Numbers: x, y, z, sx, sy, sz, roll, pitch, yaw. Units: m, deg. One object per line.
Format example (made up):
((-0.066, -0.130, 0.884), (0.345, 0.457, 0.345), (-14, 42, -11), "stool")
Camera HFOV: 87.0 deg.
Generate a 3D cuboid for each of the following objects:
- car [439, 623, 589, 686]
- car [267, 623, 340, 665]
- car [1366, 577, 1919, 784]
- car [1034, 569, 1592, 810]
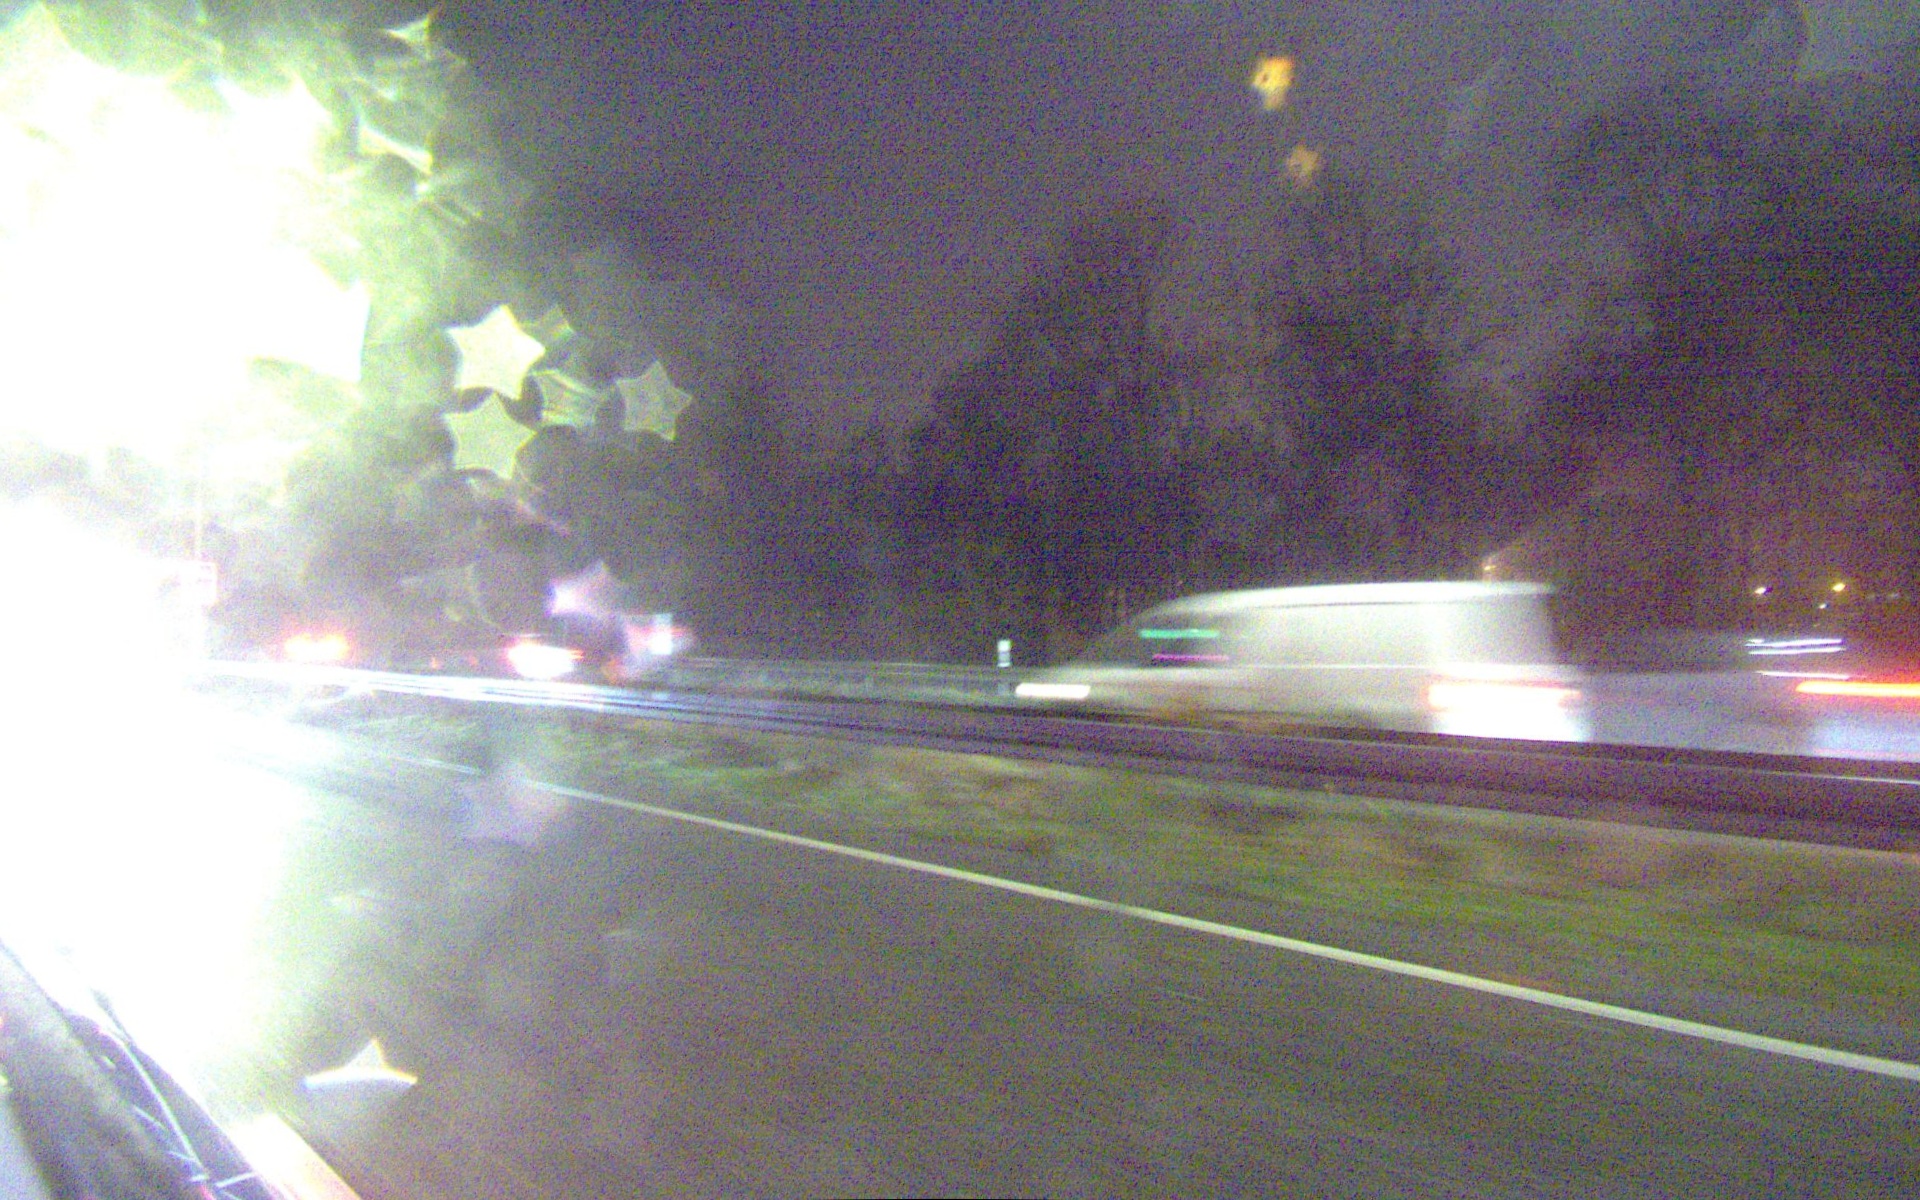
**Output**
((-12.810, 1.478, 28.904), (4.894, 1.513, 2.003), (0, 1, 41), "car")
((-27.516, 1.815, 42.393), (3.832, 1.563, 1.583), (0, 1, 42), "car")
((7.177, 0.690, 11.083), (4.701, 1.787, 1.974), (0, 1, 40), "car")
((3.202, 0.644, 9.762), (4.701, 1.787, 1.974), (0, 1, 40), "car")
